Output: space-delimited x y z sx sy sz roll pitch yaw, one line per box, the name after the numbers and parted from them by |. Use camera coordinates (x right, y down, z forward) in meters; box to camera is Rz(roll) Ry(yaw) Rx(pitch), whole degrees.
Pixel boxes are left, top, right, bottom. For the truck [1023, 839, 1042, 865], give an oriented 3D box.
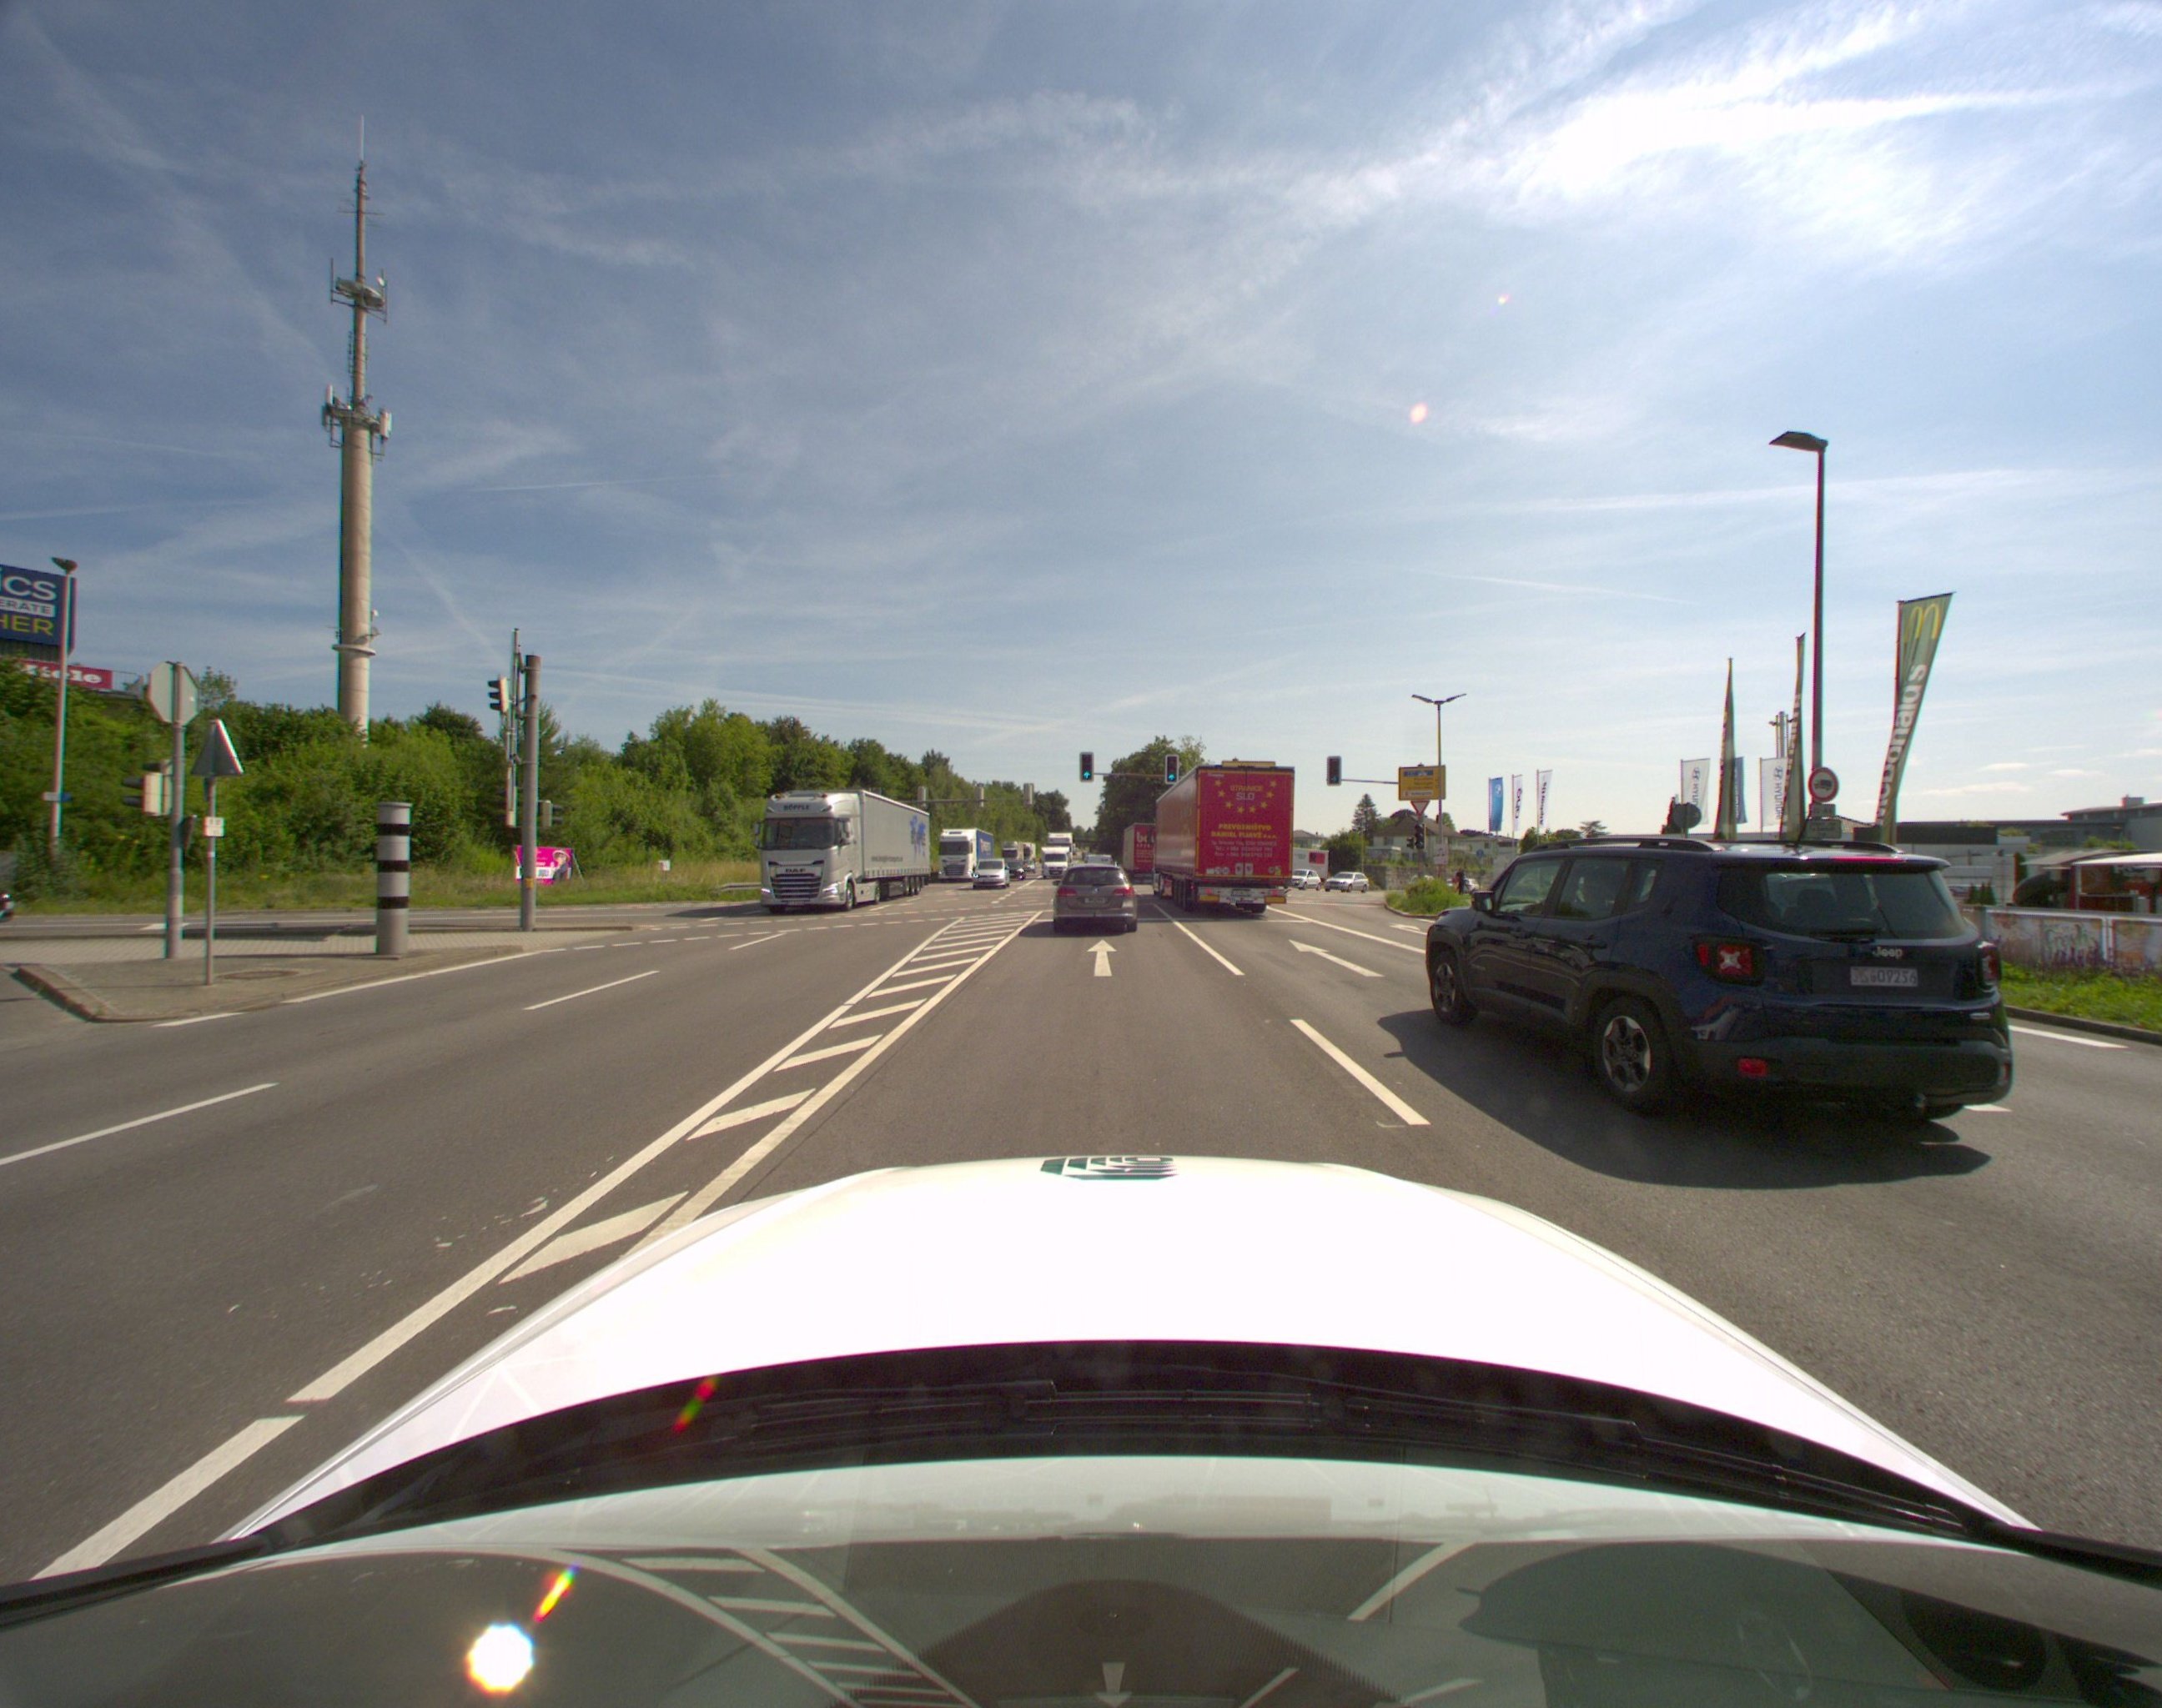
-8.107 -0.315 137.258 2.821 4.116 9.677 -1 0 -1 | truck

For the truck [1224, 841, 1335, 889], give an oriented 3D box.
18.173 1.026 74.627 9.692 3.628 2.751 5 -2 -17 | truck

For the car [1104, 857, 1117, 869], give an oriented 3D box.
5.026 1.495 137.130 1.988 2.014 3.998 -1 0 -1 | car

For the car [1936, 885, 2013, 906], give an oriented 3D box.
75.916 3.494 69.249 4.135 1.618 2.021 -1 -1 40 | car

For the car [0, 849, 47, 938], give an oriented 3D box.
-21.300 0.603 13.618 4.661 1.527 1.892 4 -2 -43 | car

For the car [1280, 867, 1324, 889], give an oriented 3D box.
16.443 1.803 60.479 1.689 1.504 3.778 1 -2 40 | car

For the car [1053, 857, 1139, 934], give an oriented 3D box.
0.275 0.848 18.253 1.686 1.513 3.998 -1 0 -1 | car

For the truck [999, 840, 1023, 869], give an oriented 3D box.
-9.898 0.098 116.276 2.721 3.999 9.615 -1 0 -1 | truck

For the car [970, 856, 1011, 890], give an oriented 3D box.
-4.998 1.033 45.616 1.837 1.732 4.587 1 0 -1 | car

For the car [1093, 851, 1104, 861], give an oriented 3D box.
3.577 0.369 167.521 1.988 2.014 3.998 -1 0 -1 | car

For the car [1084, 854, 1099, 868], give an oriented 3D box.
1.509 1.004 117.980 1.988 2.014 3.998 -1 0 -1 | car

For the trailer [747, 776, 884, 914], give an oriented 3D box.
-8.686 -0.246 27.480 2.638 4.105 6.177 -1 -1 -1 | trailer

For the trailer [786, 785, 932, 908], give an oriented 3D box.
-8.832 -0.209 34.655 2.684 4.148 13.870 -1 0 -1 | trailer

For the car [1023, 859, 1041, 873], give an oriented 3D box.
-5.375 1.302 89.813 1.719 1.502 4.001 -1 0 1 | car

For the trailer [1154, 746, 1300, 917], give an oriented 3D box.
4.369 -0.534 27.573 2.829 4.365 13.170 1 0 1 | trailer

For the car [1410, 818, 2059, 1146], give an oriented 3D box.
4.144 0.671 6.167 1.764 1.654 4.001 -1 0 1 | car

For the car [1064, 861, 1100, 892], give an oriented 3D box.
0.028 1.163 42.632 1.765 1.513 3.998 -1 0 -1 | car

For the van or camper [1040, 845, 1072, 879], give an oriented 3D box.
-1.969 0.640 66.993 2.323 2.600 6.978 -1 0 0 | van or camper

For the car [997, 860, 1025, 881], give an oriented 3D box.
-5.321 1.251 62.634 1.989 1.485 4.448 -1 0 -3 | car

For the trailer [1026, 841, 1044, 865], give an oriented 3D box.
-8.233 -0.148 146.460 2.832 4.070 8.751 -1 0 -1 | trailer

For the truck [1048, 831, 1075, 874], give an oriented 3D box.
-1.904 -0.118 80.594 2.530 4.088 6.261 -1 -1 -2 | truck

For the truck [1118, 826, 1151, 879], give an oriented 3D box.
4.250 -0.098 65.638 2.397 4.128 5.522 -1 -1 1 | truck

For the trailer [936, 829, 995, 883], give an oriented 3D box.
-9.503 0.214 68.871 3.084 4.080 14.121 -1 0 -1 | trailer

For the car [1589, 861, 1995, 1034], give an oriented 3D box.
7.853 0.867 9.689 1.978 1.519 4.469 -1 0 17 | car

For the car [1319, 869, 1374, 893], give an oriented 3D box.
19.266 1.972 58.916 1.975 1.505 5.030 1 -2 40 | car

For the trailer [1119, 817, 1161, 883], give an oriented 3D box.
4.074 -0.215 58.827 2.386 4.243 13.081 -1 0 1 | trailer

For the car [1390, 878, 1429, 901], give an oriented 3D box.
24.775 2.634 61.354 1.974 1.575 4.025 2 -1 33 | car

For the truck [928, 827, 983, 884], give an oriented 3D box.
-9.419 0.126 61.881 3.178 4.080 6.343 -1 -1 -1 | truck

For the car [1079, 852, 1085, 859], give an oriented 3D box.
0.271 0.567 249.949 1.988 2.014 3.998 -1 0 -1 | car

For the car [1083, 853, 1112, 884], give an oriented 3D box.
1.046 0.918 53.322 1.765 1.936 3.976 -1 0 -1 | car

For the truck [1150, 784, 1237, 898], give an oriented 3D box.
4.550 -0.476 34.040 2.860 4.281 5.840 1 -1 1 | truck

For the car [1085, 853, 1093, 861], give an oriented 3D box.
2.050 0.847 207.928 1.988 2.014 3.998 -1 0 -1 | car
